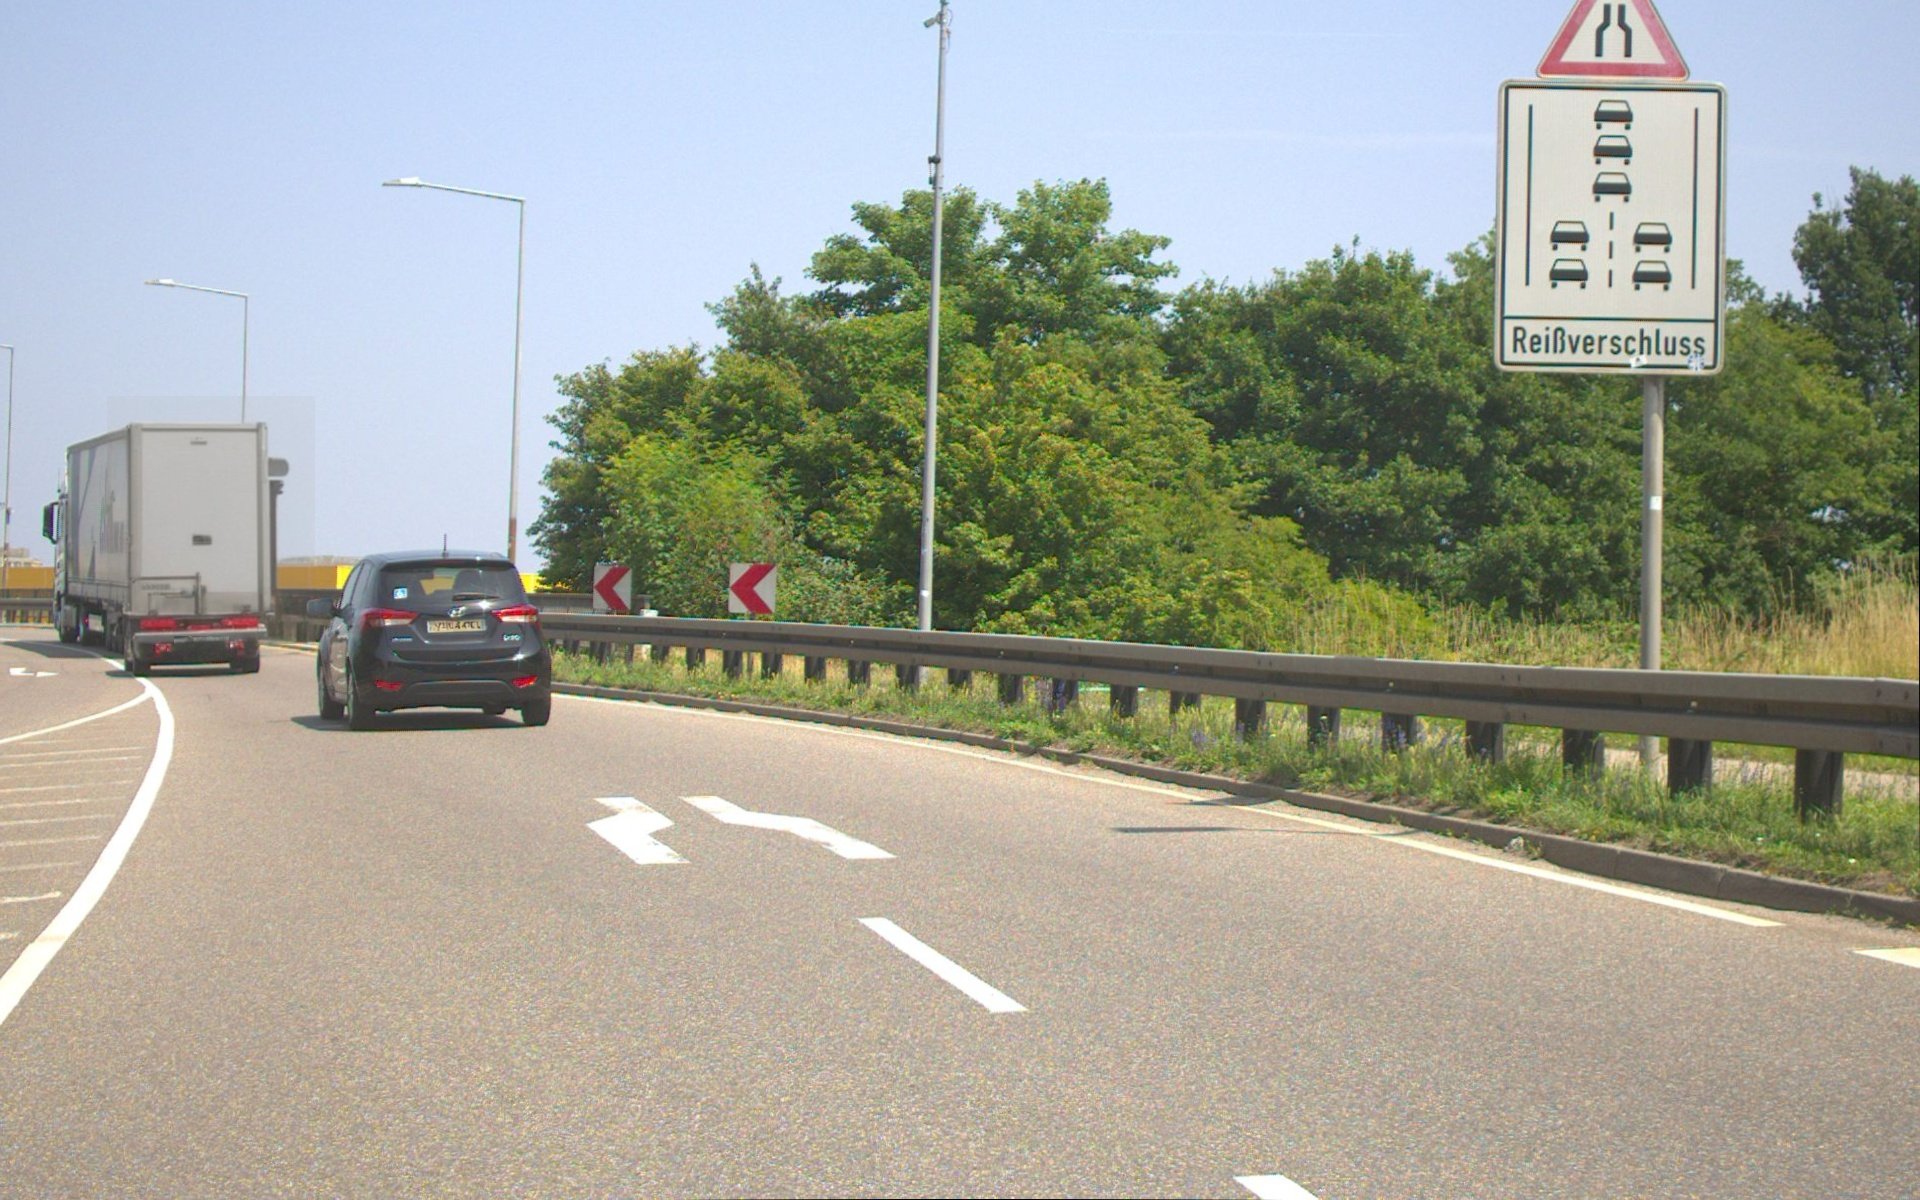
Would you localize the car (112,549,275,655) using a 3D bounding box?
[{"bbox_3d":[-10.889,0.004,48.655,2.011,1.424,3.778,1,1,-16],"label":"car"}]

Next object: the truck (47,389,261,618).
[{"bbox_3d":[-16.579,-1.912,70.380,3.571,4.426,6.517,1,1,-19],"label":"truck"}]

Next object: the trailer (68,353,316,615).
[{"bbox_3d":[-14.408,-2.026,63.697,3.568,4.369,11.444,1,1,-17],"label":"trailer"}]

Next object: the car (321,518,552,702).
[{"bbox_3d":[-4.862,0.062,31.566,1.921,1.568,3.892,1,1,-11],"label":"car"}]
